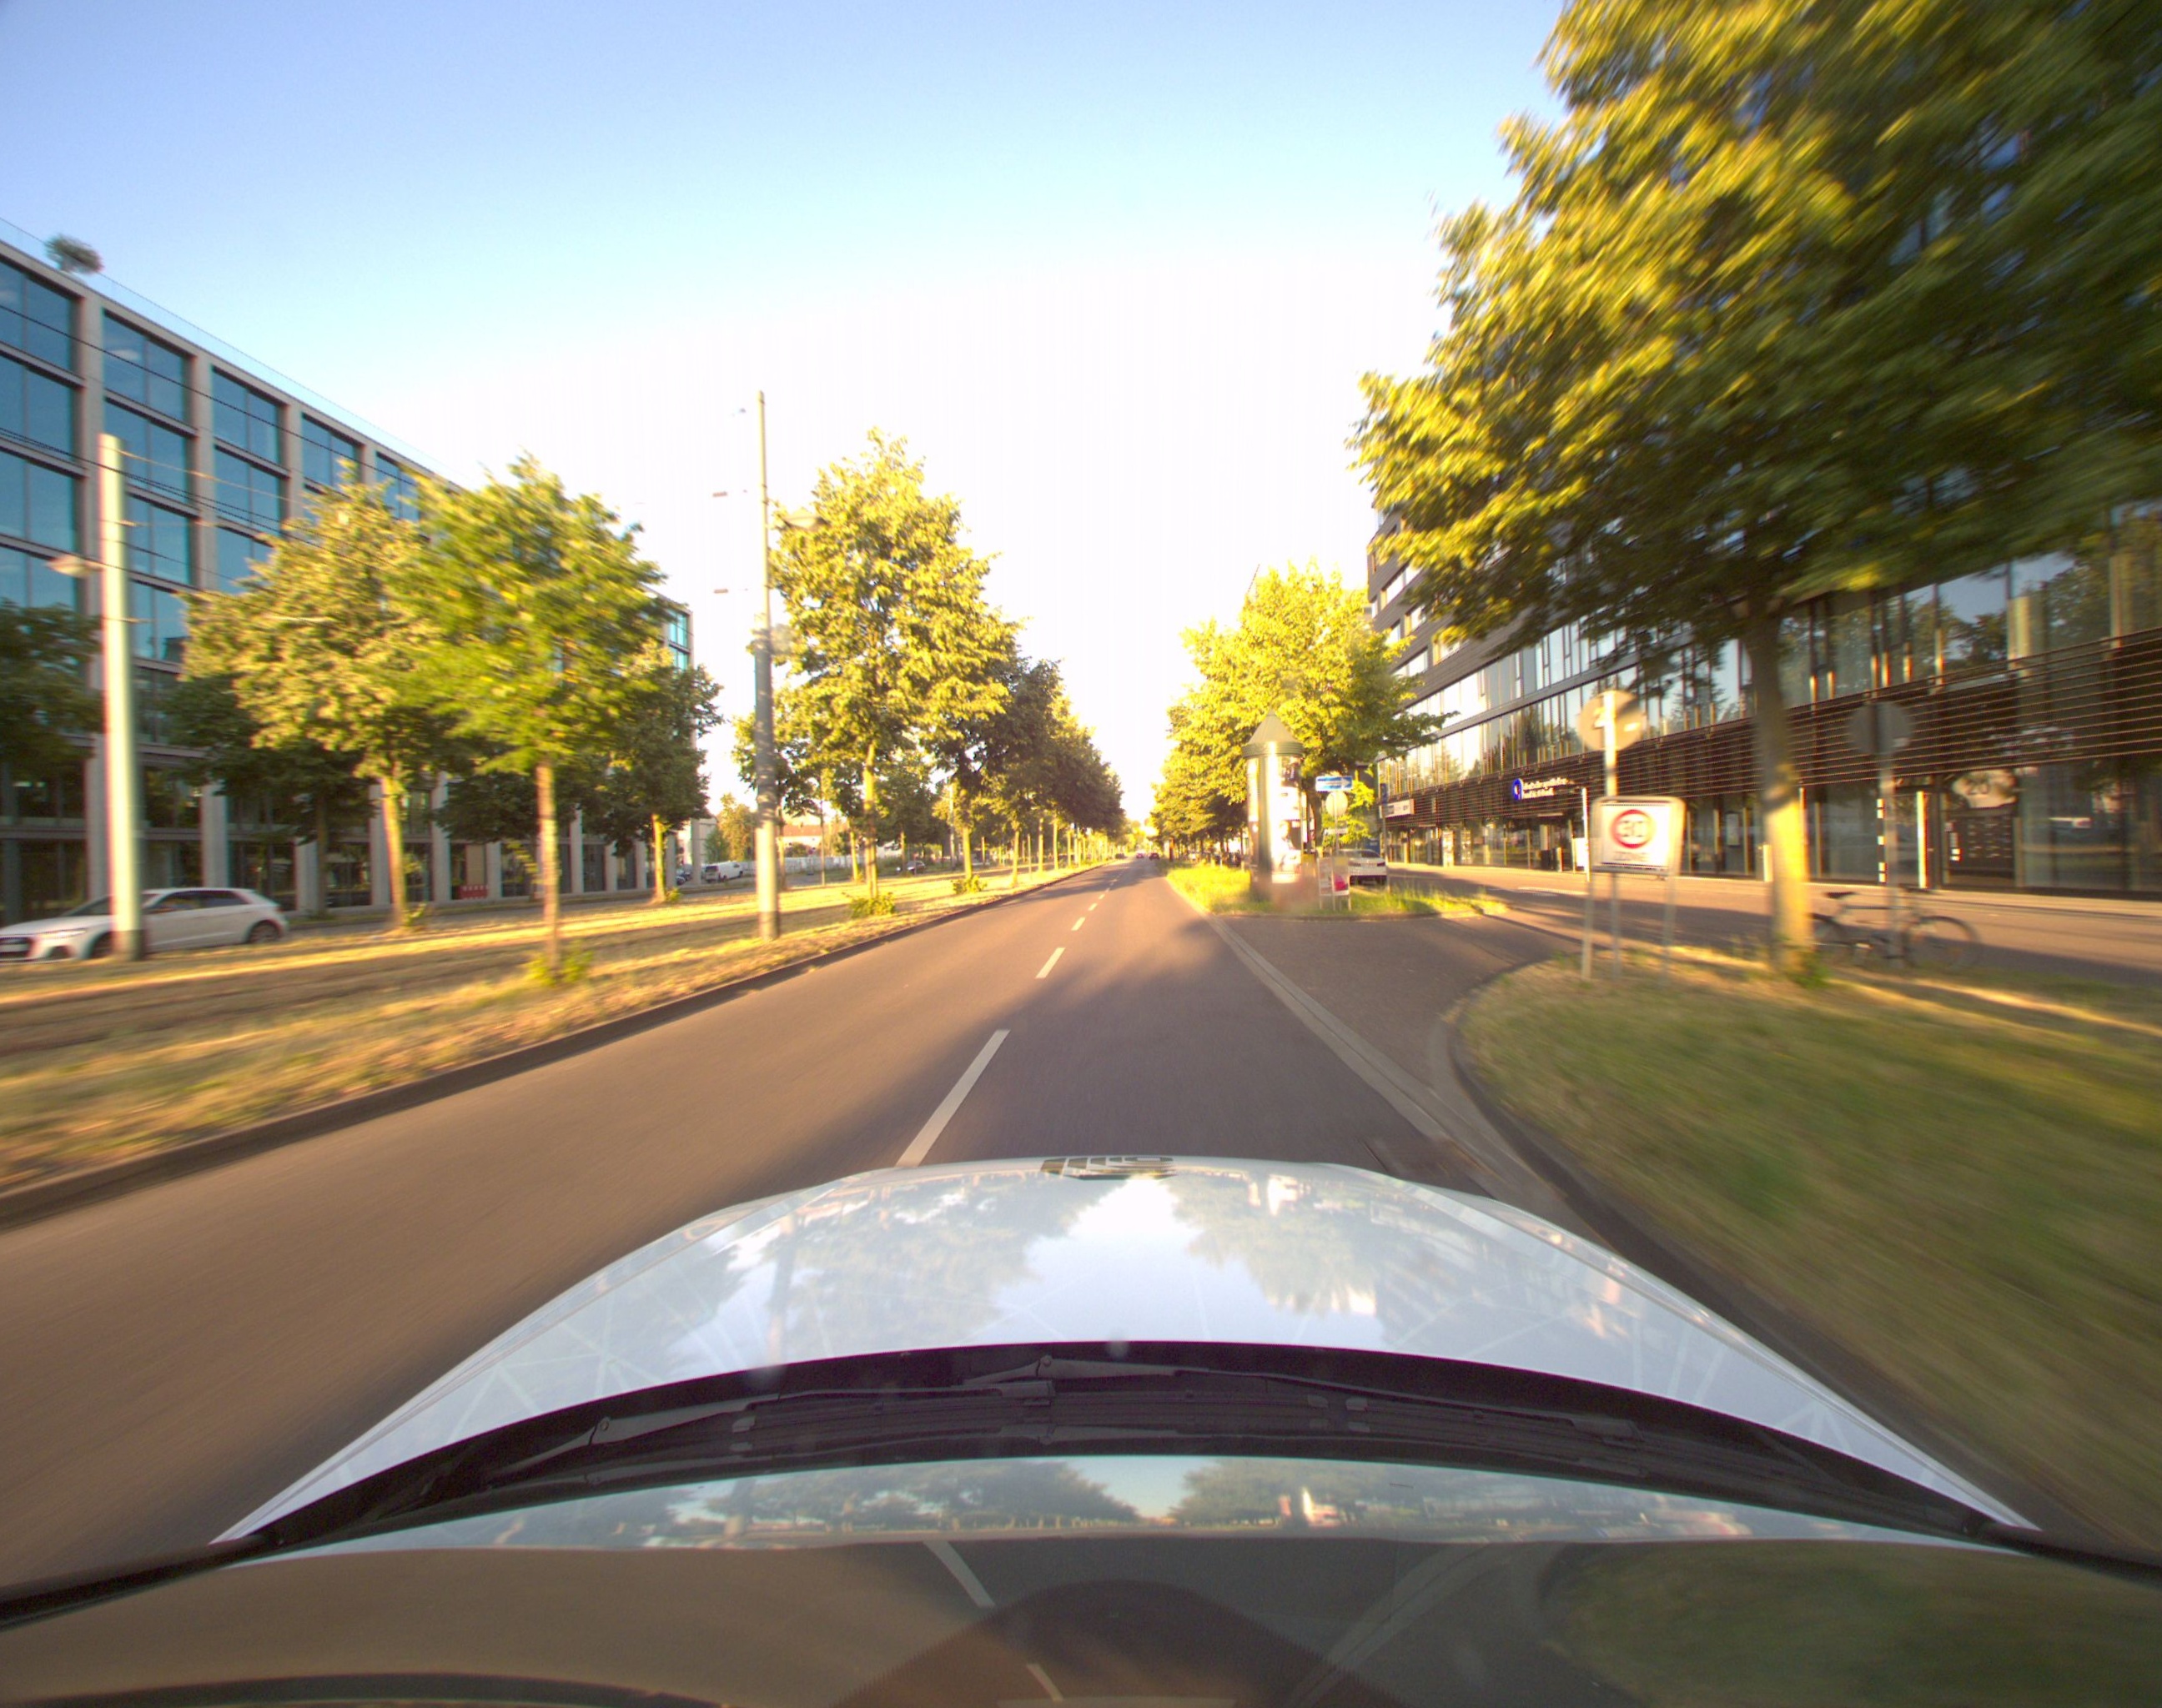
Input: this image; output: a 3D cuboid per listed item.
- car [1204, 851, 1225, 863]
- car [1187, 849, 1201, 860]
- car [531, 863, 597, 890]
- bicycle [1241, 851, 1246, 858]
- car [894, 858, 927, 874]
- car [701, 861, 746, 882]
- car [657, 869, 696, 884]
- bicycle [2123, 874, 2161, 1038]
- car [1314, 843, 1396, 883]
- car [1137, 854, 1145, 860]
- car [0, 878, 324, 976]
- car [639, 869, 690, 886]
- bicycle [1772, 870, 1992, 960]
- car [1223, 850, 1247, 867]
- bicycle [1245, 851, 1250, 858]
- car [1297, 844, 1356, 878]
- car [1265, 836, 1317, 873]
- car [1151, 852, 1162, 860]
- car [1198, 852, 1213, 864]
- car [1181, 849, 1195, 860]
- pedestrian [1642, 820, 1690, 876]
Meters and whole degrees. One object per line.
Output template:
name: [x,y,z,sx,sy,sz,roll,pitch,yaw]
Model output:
car: [15.839,0.366,97.031,1.845,1.367,4.837,-2,0,2]
car: [18.300,0.038,131.634,1.984,1.642,4.885,-2,0,5]
car: [-50.743,2.181,79.946,5.450,2.467,1.977,-2,0,8]
bicycle: [24.825,0.080,124.600,0.591,1.039,1.895,-2,0,5]
car: [-17.418,1.226,83.399,1.921,1.422,4.396,-2,0,6]
car: [-38.407,1.828,87.675,2.196,2.013,5.090,-2,0,5]
car: [-43.893,2.461,88.419,1.984,1.418,4.005,-2,0,4]
bicycle: [6.962,0.622,4.342,0.578,0.995,1.684,-2,0,-4]
car: [11.274,0.337,33.893,1.909,1.496,5.044,-1,0,2]
car: [15.158,0.659,207.018,1.903,1.486,4.004,-2,0,3]
car: [-18.334,1.338,16.272,1.895,1.485,4.634,-2,0,2]
car: [-40.020,2.289,78.302,3.966,1.445,1.898,-2,0,7]
bicycle: [8.867,0.652,9.106,1.701,0.910,0.364,-1,0,37]
car: [14.398,0.394,76.276,1.772,1.494,4.005,1,0,4]
bicycle: [25.366,0.080,124.291,0.468,1.039,1.809,-2,0,5]
car: [11.936,0.316,39.811,1.851,1.496,4.296,-2,0,5]
car: [12.067,0.033,47.095,1.978,1.989,4.937,-1,0,4]
car: [14.927,0.414,161.509,1.903,1.486,4.004,-1,0,3]
car: [16.340,0.459,107.008,1.702,1.515,3.762,1,0,3]
car: [18.928,0.032,144.040,1.986,1.852,4.668,-2,0,2]
pedestrian: [19.263,-0.191,26.825,0.893,1.796,0.913,-2,0,3]
